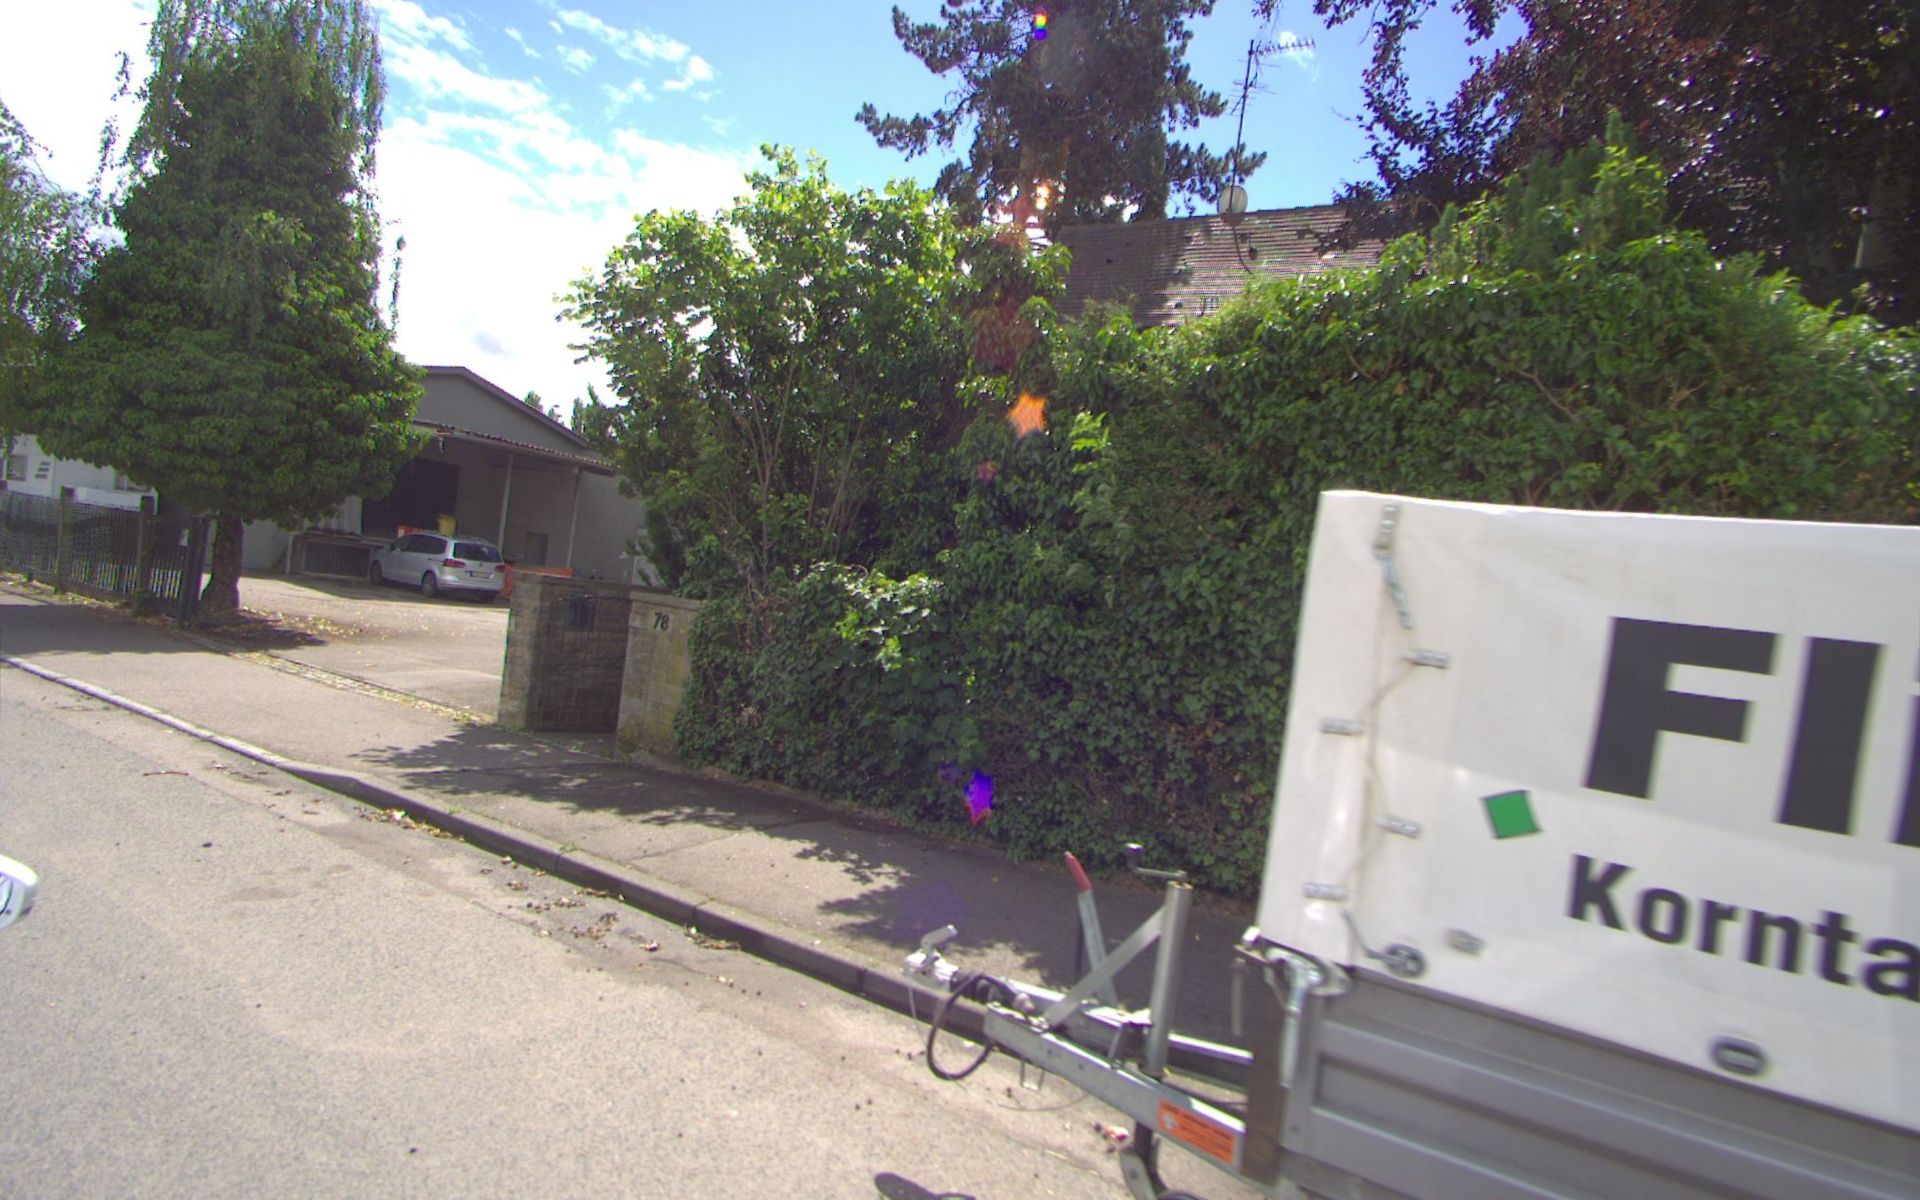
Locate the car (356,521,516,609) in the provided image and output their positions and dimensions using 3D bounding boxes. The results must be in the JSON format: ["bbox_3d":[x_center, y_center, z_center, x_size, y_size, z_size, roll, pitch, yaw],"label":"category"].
[{"bbox_3d":[-14.869,-1.011,28.461,4.733,1.773,1.819,9,1,33],"label":"car"}]

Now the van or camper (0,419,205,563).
[{"bbox_3d":[-23.691,-2.965,27.007,6.797,3.098,2.885,7,0,30],"label":"van or camper"}]

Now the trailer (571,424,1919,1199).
[{"bbox_3d":[1.742,0.874,1.807,4.686,1.843,1.998,7,-2,32],"label":"trailer"}]

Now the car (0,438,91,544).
[{"bbox_3d":[-28.644,-3.425,30.236,5.404,2.714,2.021,8,1,30],"label":"car"}]

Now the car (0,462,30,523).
[{"bbox_3d":[-34.012,-3.896,34.355,4.772,1.933,1.996,8,0,32],"label":"car"}]
